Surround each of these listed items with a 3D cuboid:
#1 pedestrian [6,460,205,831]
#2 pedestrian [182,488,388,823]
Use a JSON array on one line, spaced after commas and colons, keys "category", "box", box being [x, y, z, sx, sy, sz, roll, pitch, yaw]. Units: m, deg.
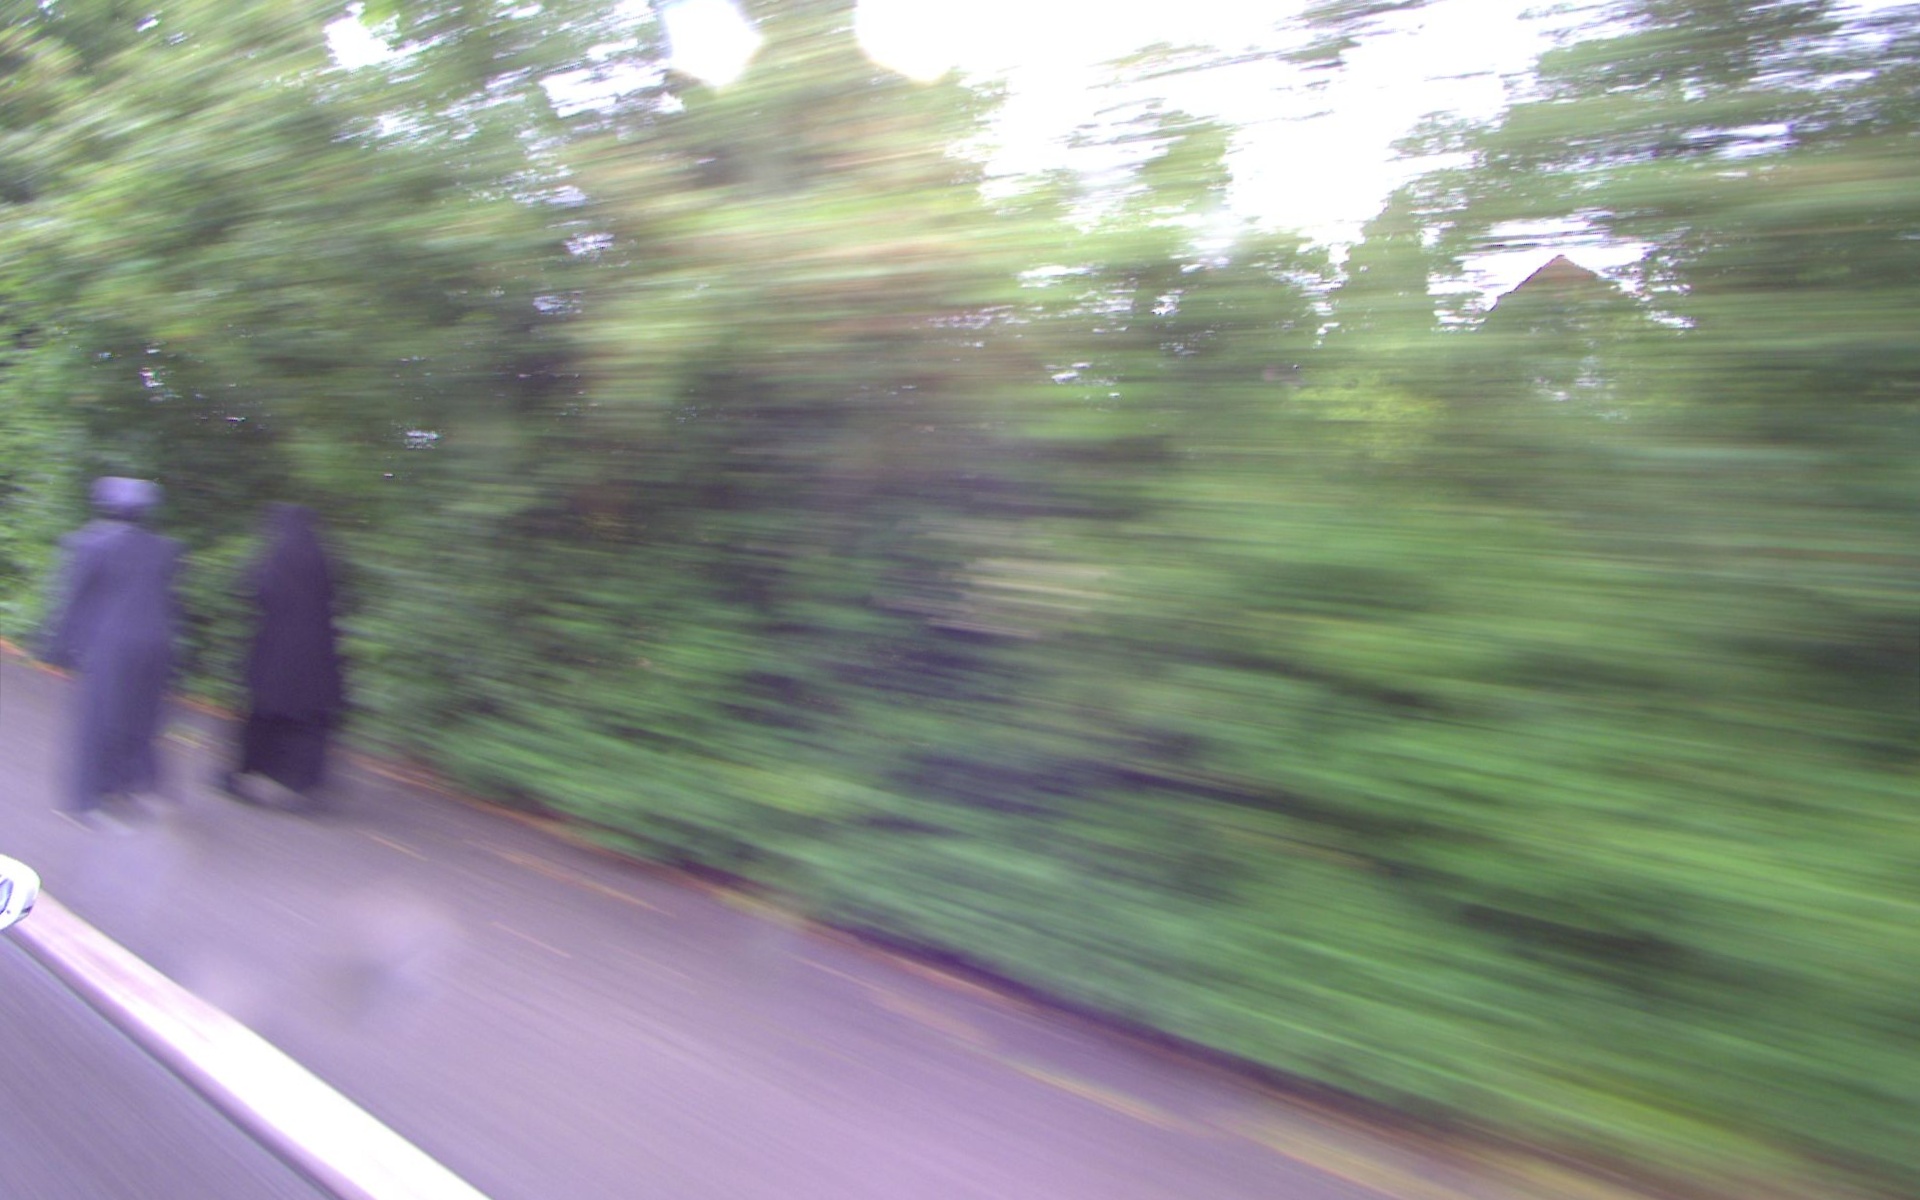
[{"category": "pedestrian", "box": [-3.942, 0.200, 4.643, 0.480, 1.586, 0.551, 7, 1, 42]}, {"category": "pedestrian", "box": [-3.494, 0.273, 5.209, 0.660, 1.585, 0.594, 8, 1, 42]}]
